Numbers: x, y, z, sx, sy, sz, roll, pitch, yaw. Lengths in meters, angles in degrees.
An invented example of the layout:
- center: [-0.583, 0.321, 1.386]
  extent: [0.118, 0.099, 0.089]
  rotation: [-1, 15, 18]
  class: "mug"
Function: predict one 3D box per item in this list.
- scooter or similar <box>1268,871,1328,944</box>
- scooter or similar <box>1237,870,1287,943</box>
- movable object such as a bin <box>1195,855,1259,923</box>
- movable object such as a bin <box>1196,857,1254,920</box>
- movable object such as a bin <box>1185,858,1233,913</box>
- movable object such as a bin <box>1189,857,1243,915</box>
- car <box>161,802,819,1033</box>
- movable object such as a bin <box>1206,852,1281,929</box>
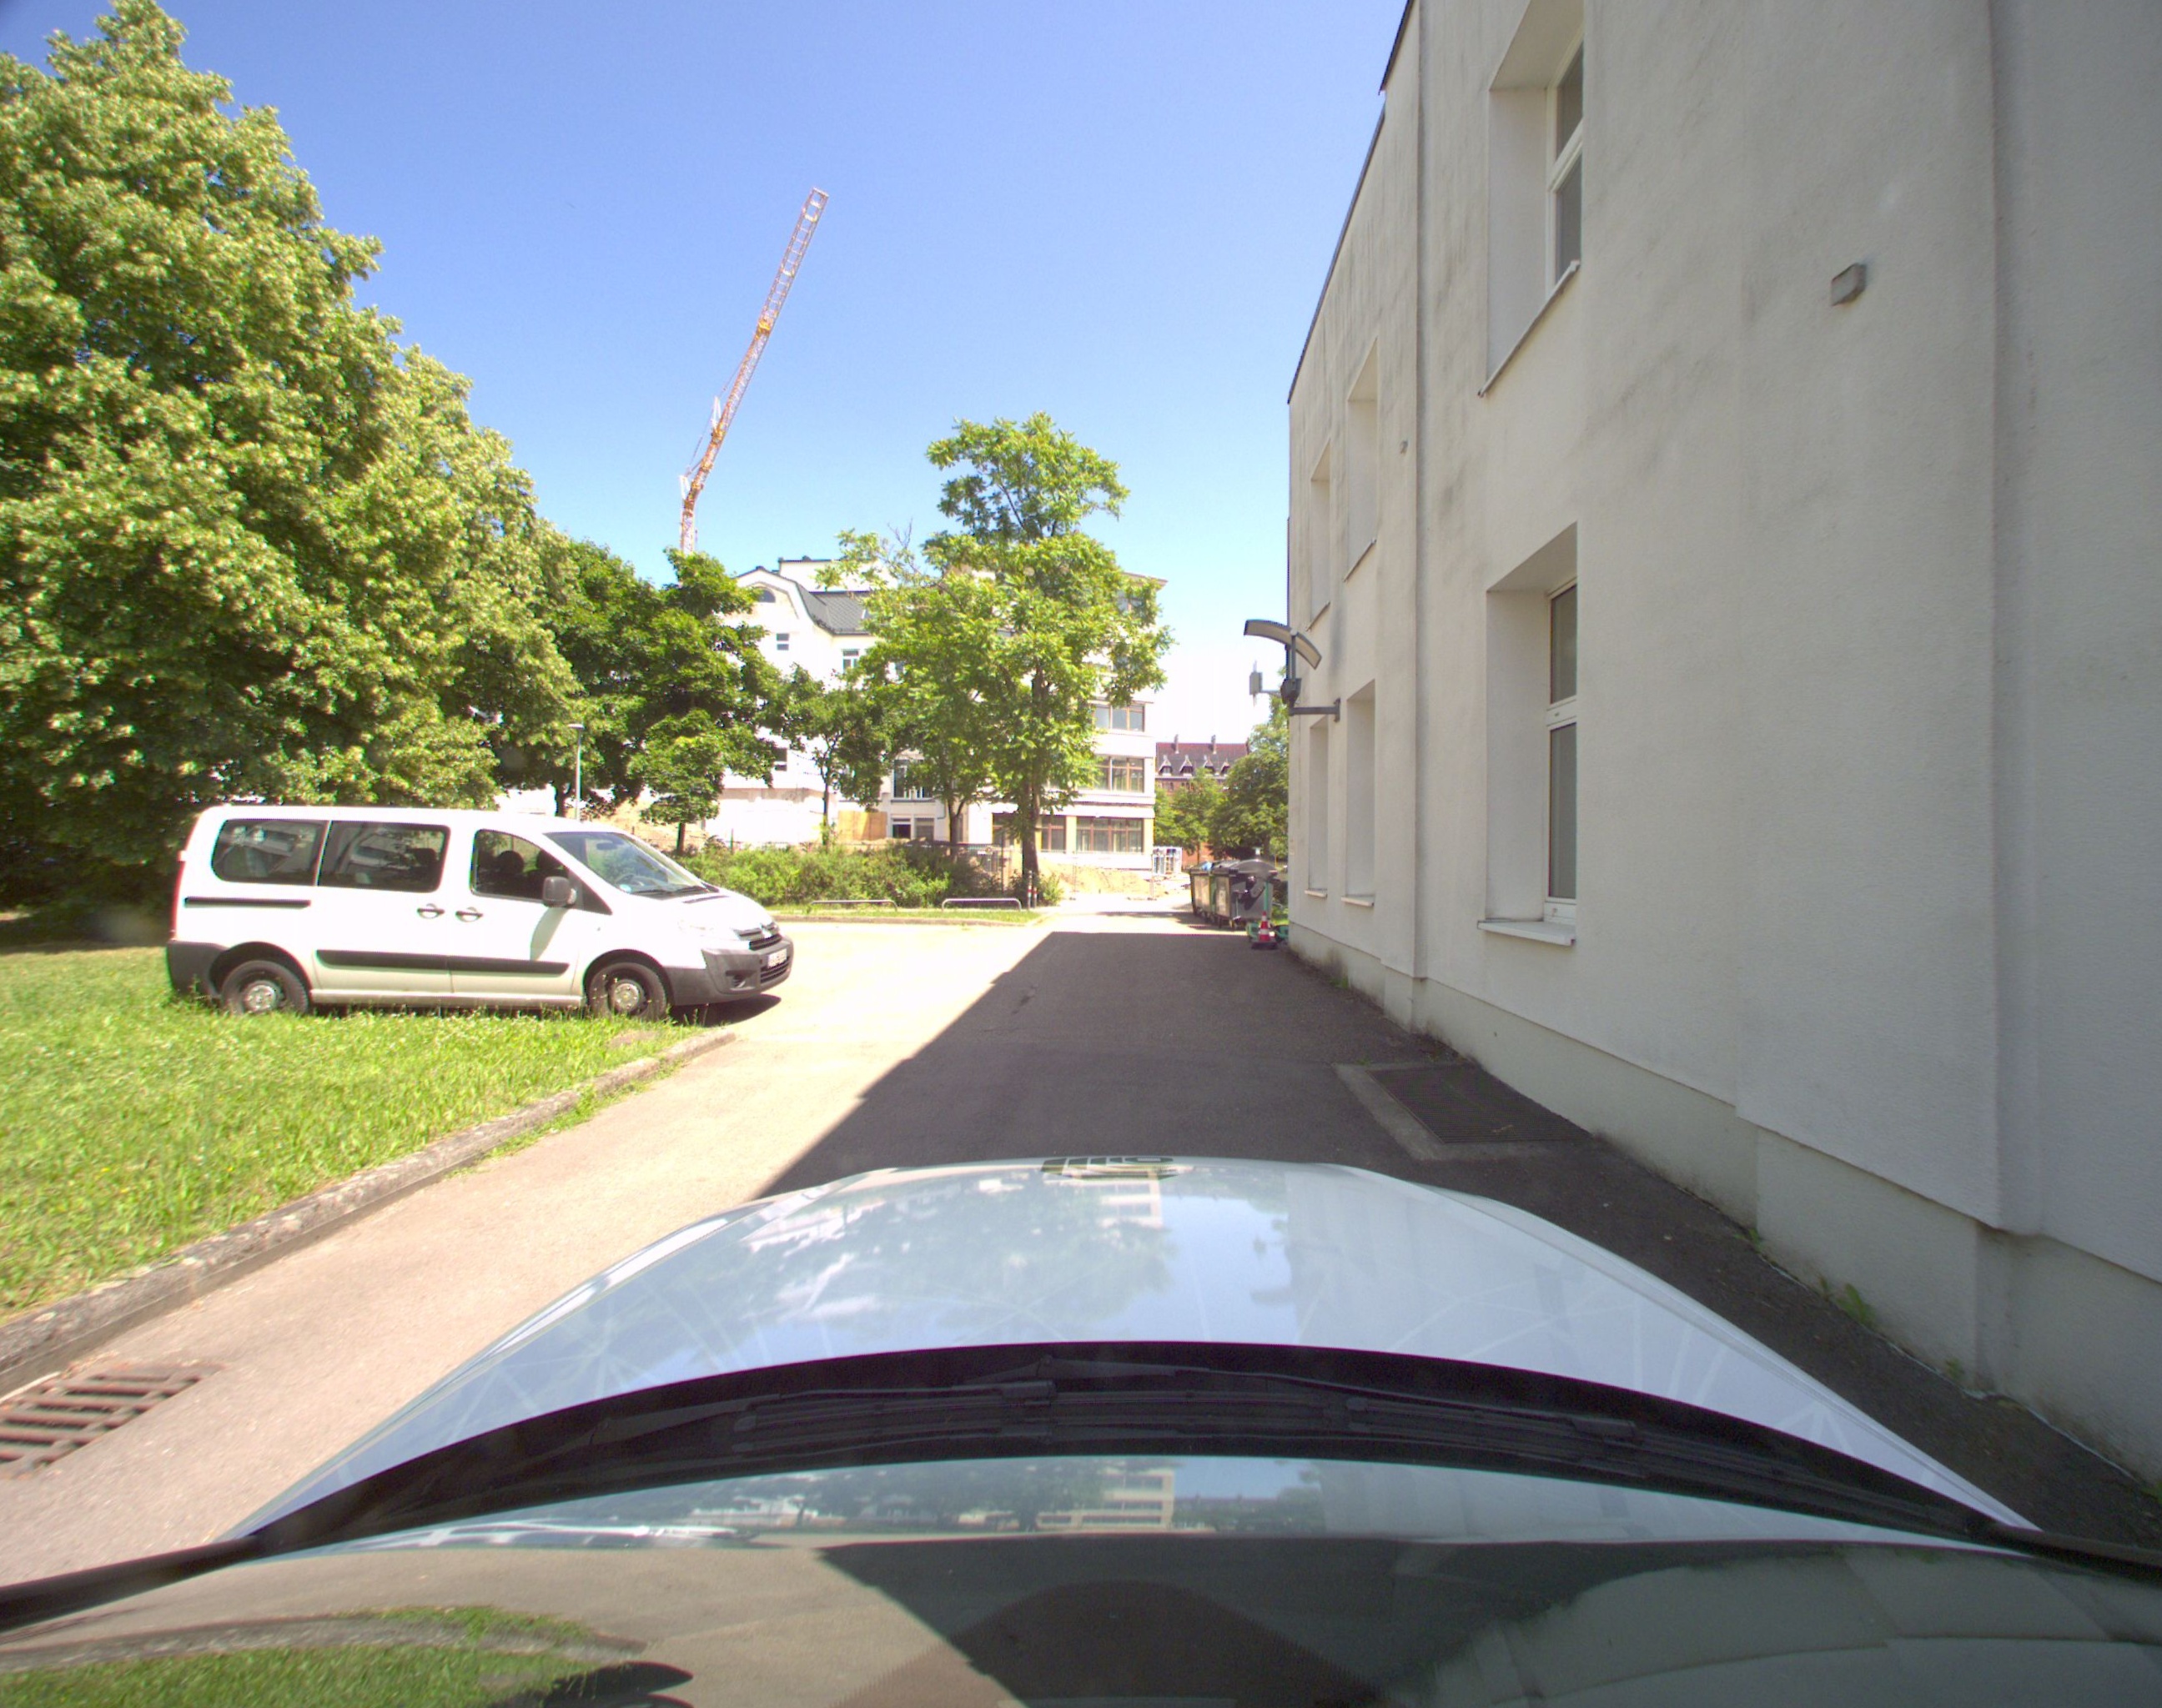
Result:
- center: [3.690, 0.886, 13.913]
  extent: [0.464, 1.174, 1.250]
  rotation: [1, -1, -13]
  class: "scooter or similar"
- center: [3.082, 0.869, 13.959]
  extent: [0.463, 1.174, 1.355]
  rotation: [1, -1, -5]
  class: "scooter or similar"
- center: [3.308, 0.787, 18.575]
  extent: [1.176, 1.470, 1.310]
  rotation: [1, -2, -3]
  class: "movable object such as a bin"
- center: [3.502, 0.828, 19.952]
  extent: [1.175, 1.470, 1.311]
  rotation: [1, -2, 0]
  class: "movable object such as a bin"
- center: [3.613, 0.881, 22.933]
  extent: [1.170, 1.470, 1.338]
  rotation: [0, -2, 15]
  class: "movable object such as a bin"
- center: [3.526, 0.834, 21.395]
  extent: [1.176, 1.470, 1.310]
  rotation: [1, -2, -2]
  class: "movable object such as a bin"
- center: [-5.231, 0.513, 7.812]
  extent: [4.775, 1.911, 1.999]
  rotation: [0, 0, -2]
  class: "car"
- center: [3.342, 0.746, 16.861]
  extent: [1.153, 1.505, 1.460]
  rotation: [1, -2, -5]
  class: "movable object such as a bin"
